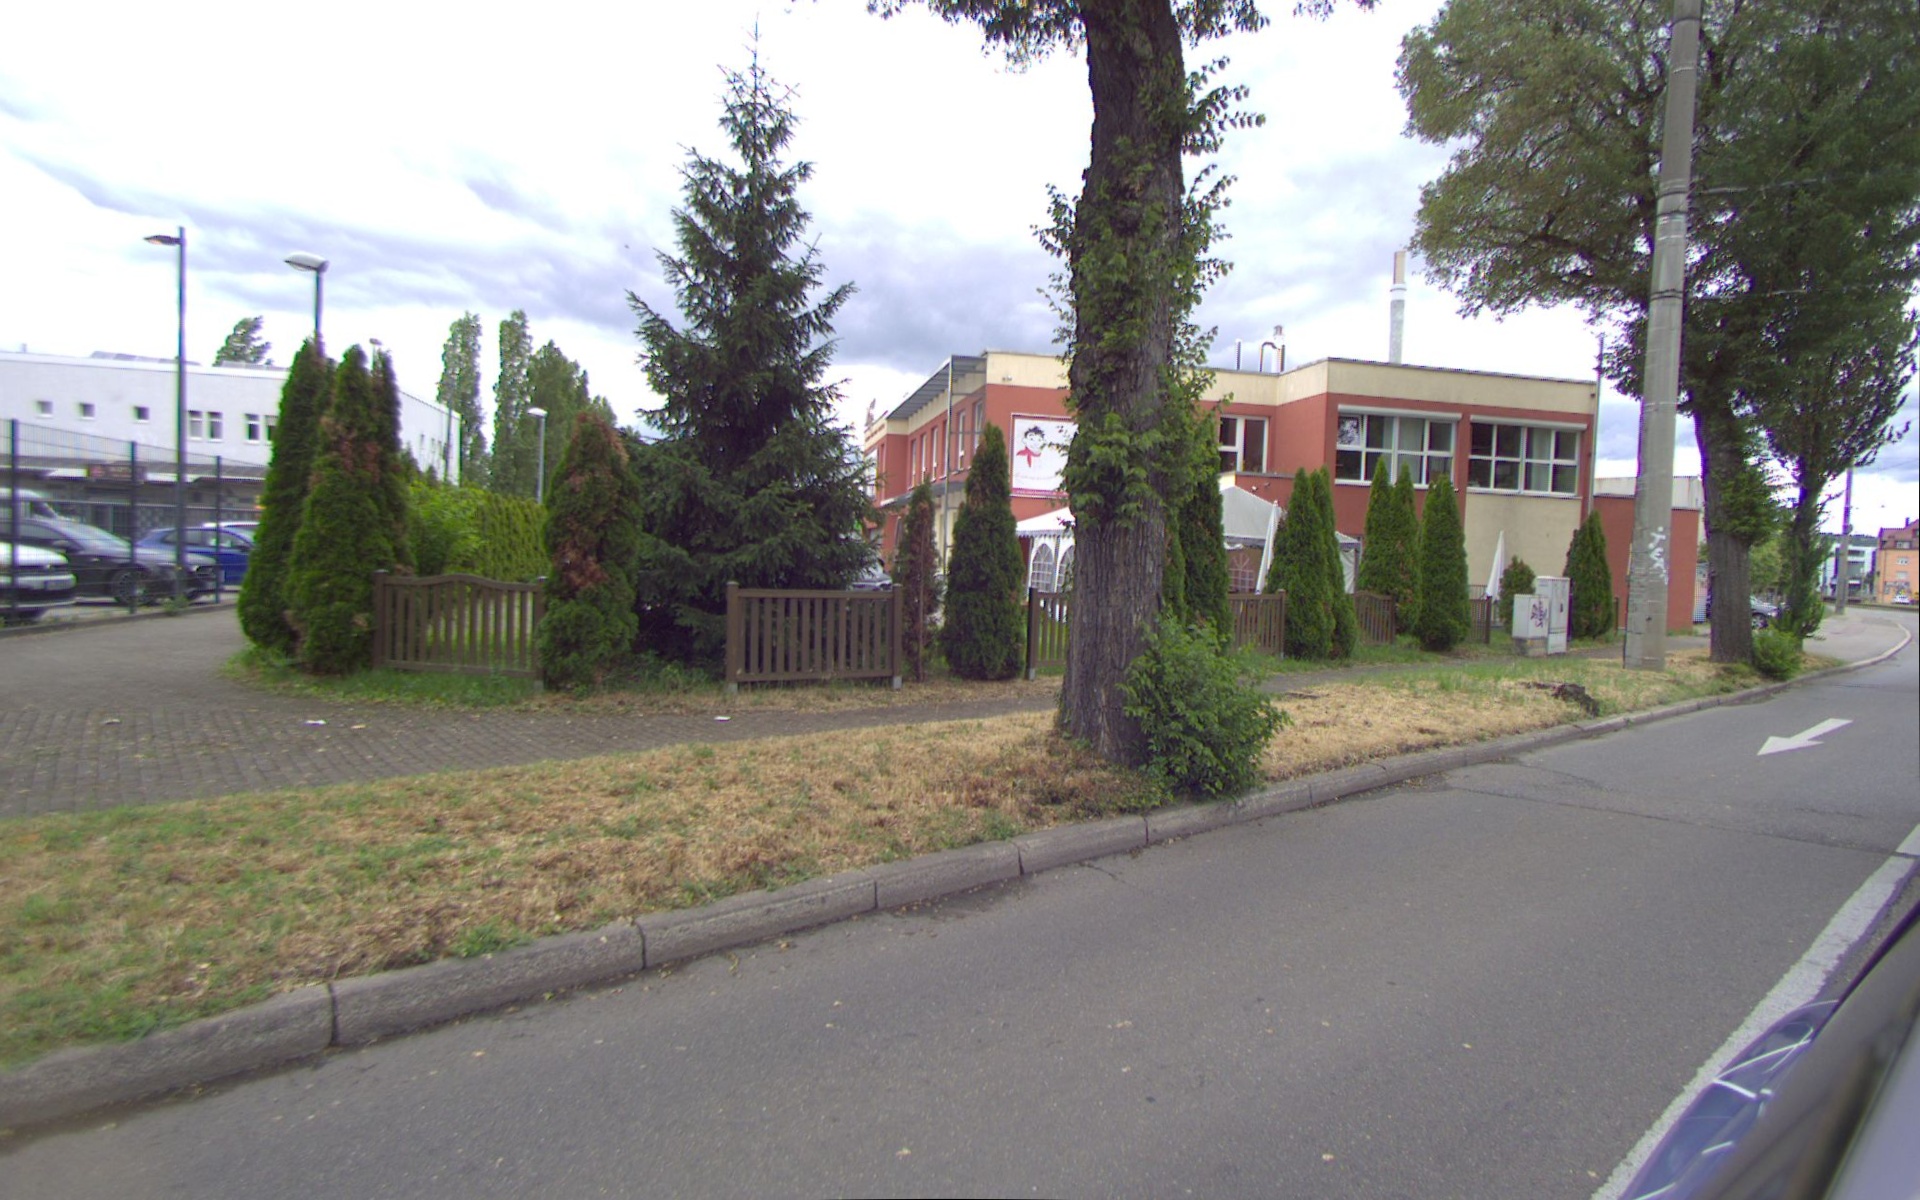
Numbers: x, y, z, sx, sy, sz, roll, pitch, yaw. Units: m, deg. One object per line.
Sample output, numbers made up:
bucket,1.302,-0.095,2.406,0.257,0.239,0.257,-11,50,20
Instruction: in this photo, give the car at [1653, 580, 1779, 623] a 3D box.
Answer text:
car,31.009,0.044,41.552,3.986,1.666,1.867,0,0,43

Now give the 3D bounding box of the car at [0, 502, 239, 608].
car,-15.561,-0.801,17.659,4.407,1.686,2.005,1,2,-14

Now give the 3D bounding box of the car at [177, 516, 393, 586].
car,-17.979,-1.311,27.199,4.407,1.686,2.005,1,2,-14

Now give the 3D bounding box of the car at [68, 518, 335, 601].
car,-17.023,-0.915,22.965,4.407,1.686,2.005,1,2,-14

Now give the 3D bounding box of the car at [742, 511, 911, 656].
car,-2.305,-0.258,16.477,1.958,2.039,4.008,0,0,-19

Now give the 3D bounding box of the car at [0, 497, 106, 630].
car,-14.436,-0.551,13.353,4.407,1.686,2.005,1,2,-14

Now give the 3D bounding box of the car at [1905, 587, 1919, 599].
car,154.082,-1.147,163.373,1.992,2.039,3.940,0,0,42

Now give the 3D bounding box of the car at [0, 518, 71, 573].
car,-31.210,-1.708,32.005,4.181,1.670,2.004,0,0,-17
